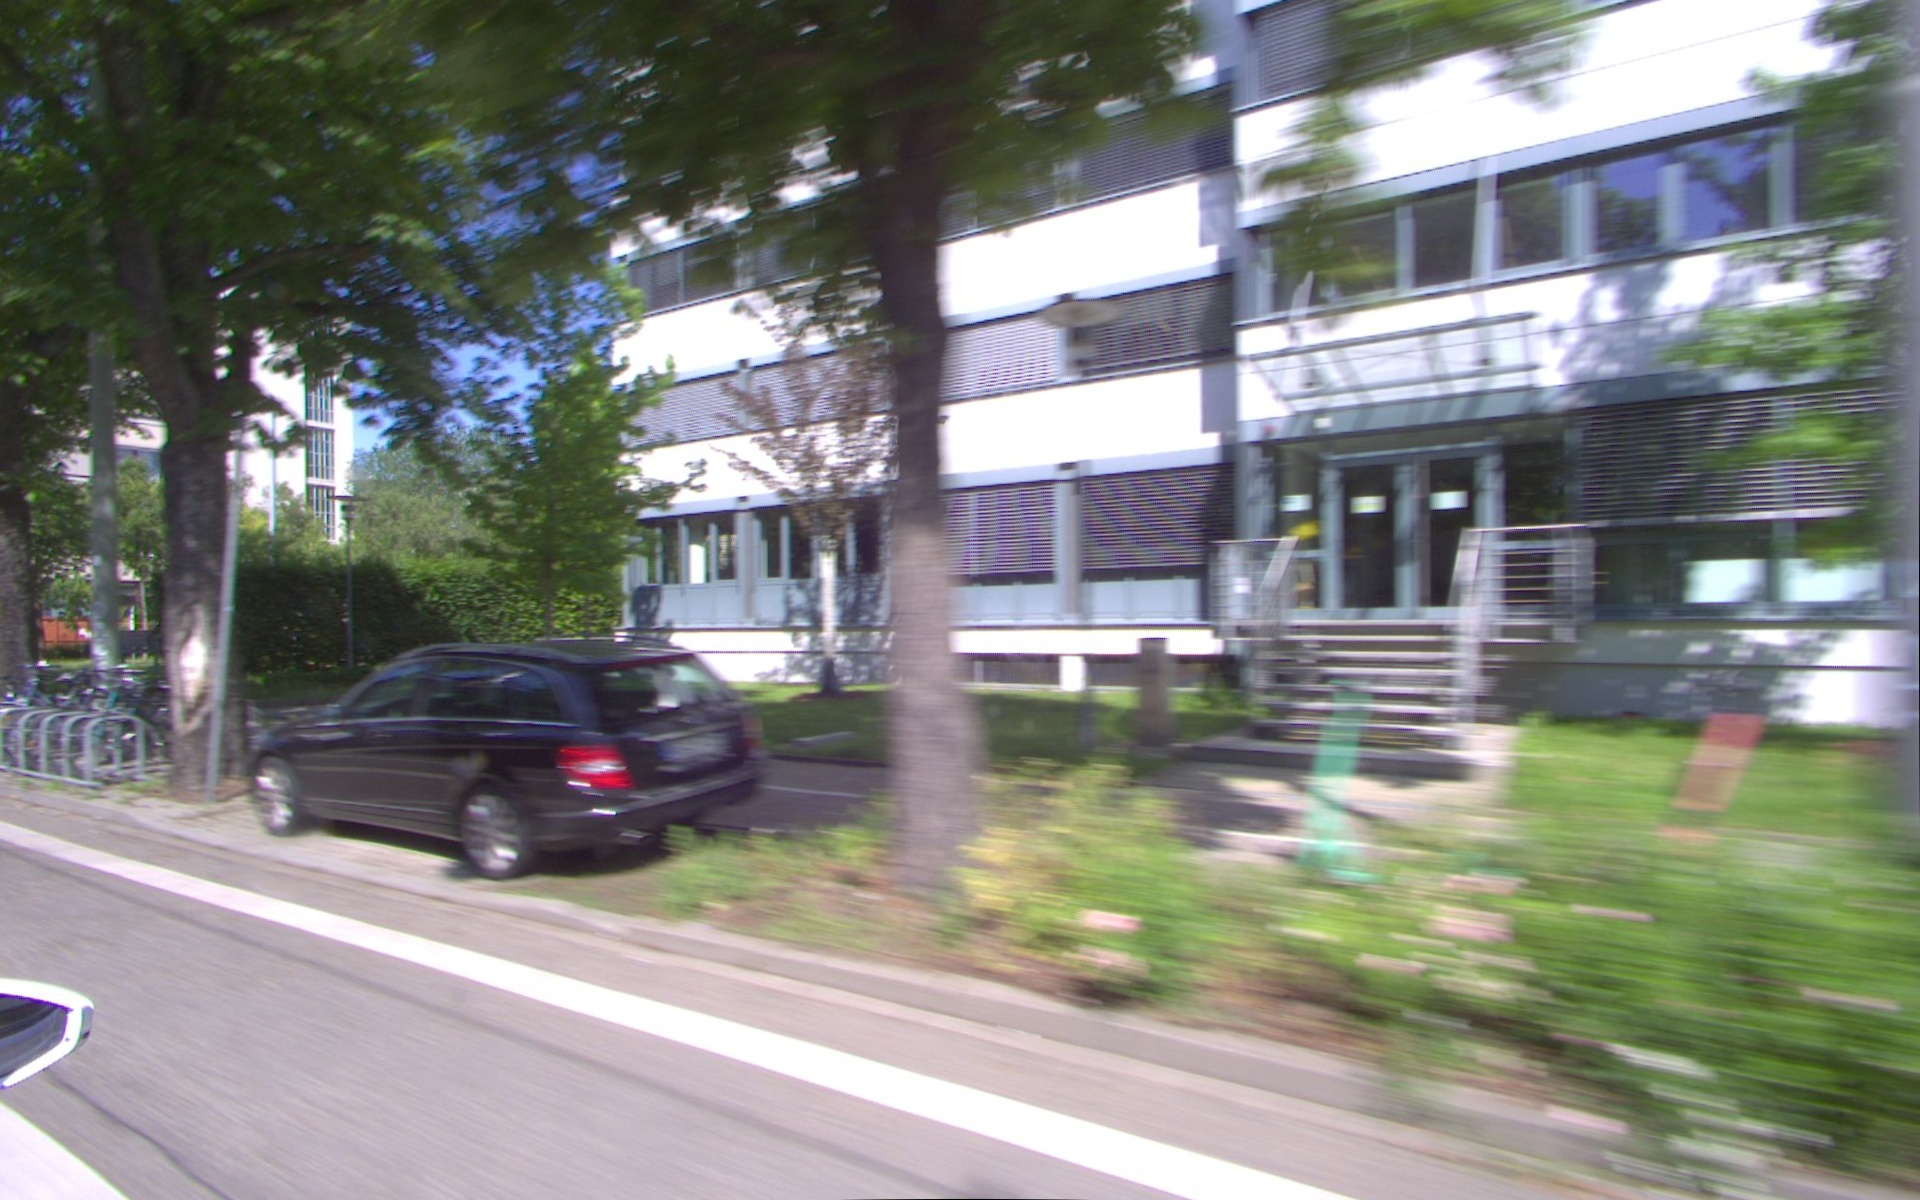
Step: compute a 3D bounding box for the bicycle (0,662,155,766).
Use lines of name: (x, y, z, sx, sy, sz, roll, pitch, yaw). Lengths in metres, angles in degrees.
bicycle: (-10.707, 1.324, 11.870, 0.606, 1.100, 1.721, -1, -1, 31)

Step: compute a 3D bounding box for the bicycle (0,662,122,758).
bicycle: (-11.555, 1.354, 12.415, 0.471, 1.100, 1.721, -1, -1, 31)

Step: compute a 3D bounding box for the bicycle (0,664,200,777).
bicycle: (-9.760, 1.315, 11.360, 0.580, 1.100, 1.721, -1, -1, 31)

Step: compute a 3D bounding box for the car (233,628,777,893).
car: (-3.523, 0.981, 7.518, 4.211, 1.502, 1.627, -1, -1, 31)

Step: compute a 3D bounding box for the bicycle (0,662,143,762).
bicycle: (-11.117, 1.341, 12.215, 0.471, 1.100, 1.721, -1, -1, 31)

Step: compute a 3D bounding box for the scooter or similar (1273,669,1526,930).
scooter or similar: (2.256, 0.971, 5.178, 1.141, 1.188, 0.400, -1, -1, 33)

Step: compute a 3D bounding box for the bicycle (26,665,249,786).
bicycle: (-8.742, 1.287, 10.722, 0.687, 1.100, 1.721, -1, -1, 31)

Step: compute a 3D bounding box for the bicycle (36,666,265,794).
bicycle: (-8.249, 1.278, 10.285, 0.619, 1.100, 1.721, -1, -1, 31)

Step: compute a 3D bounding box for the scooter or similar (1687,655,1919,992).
scooter or similar: (3.818, 0.905, 4.250, 1.141, 1.318, 0.471, -1, -1, 33)

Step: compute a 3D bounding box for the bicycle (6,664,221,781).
bicycle: (-9.274, 1.297, 11.039, 0.562, 1.100, 1.721, -1, -1, 31)
